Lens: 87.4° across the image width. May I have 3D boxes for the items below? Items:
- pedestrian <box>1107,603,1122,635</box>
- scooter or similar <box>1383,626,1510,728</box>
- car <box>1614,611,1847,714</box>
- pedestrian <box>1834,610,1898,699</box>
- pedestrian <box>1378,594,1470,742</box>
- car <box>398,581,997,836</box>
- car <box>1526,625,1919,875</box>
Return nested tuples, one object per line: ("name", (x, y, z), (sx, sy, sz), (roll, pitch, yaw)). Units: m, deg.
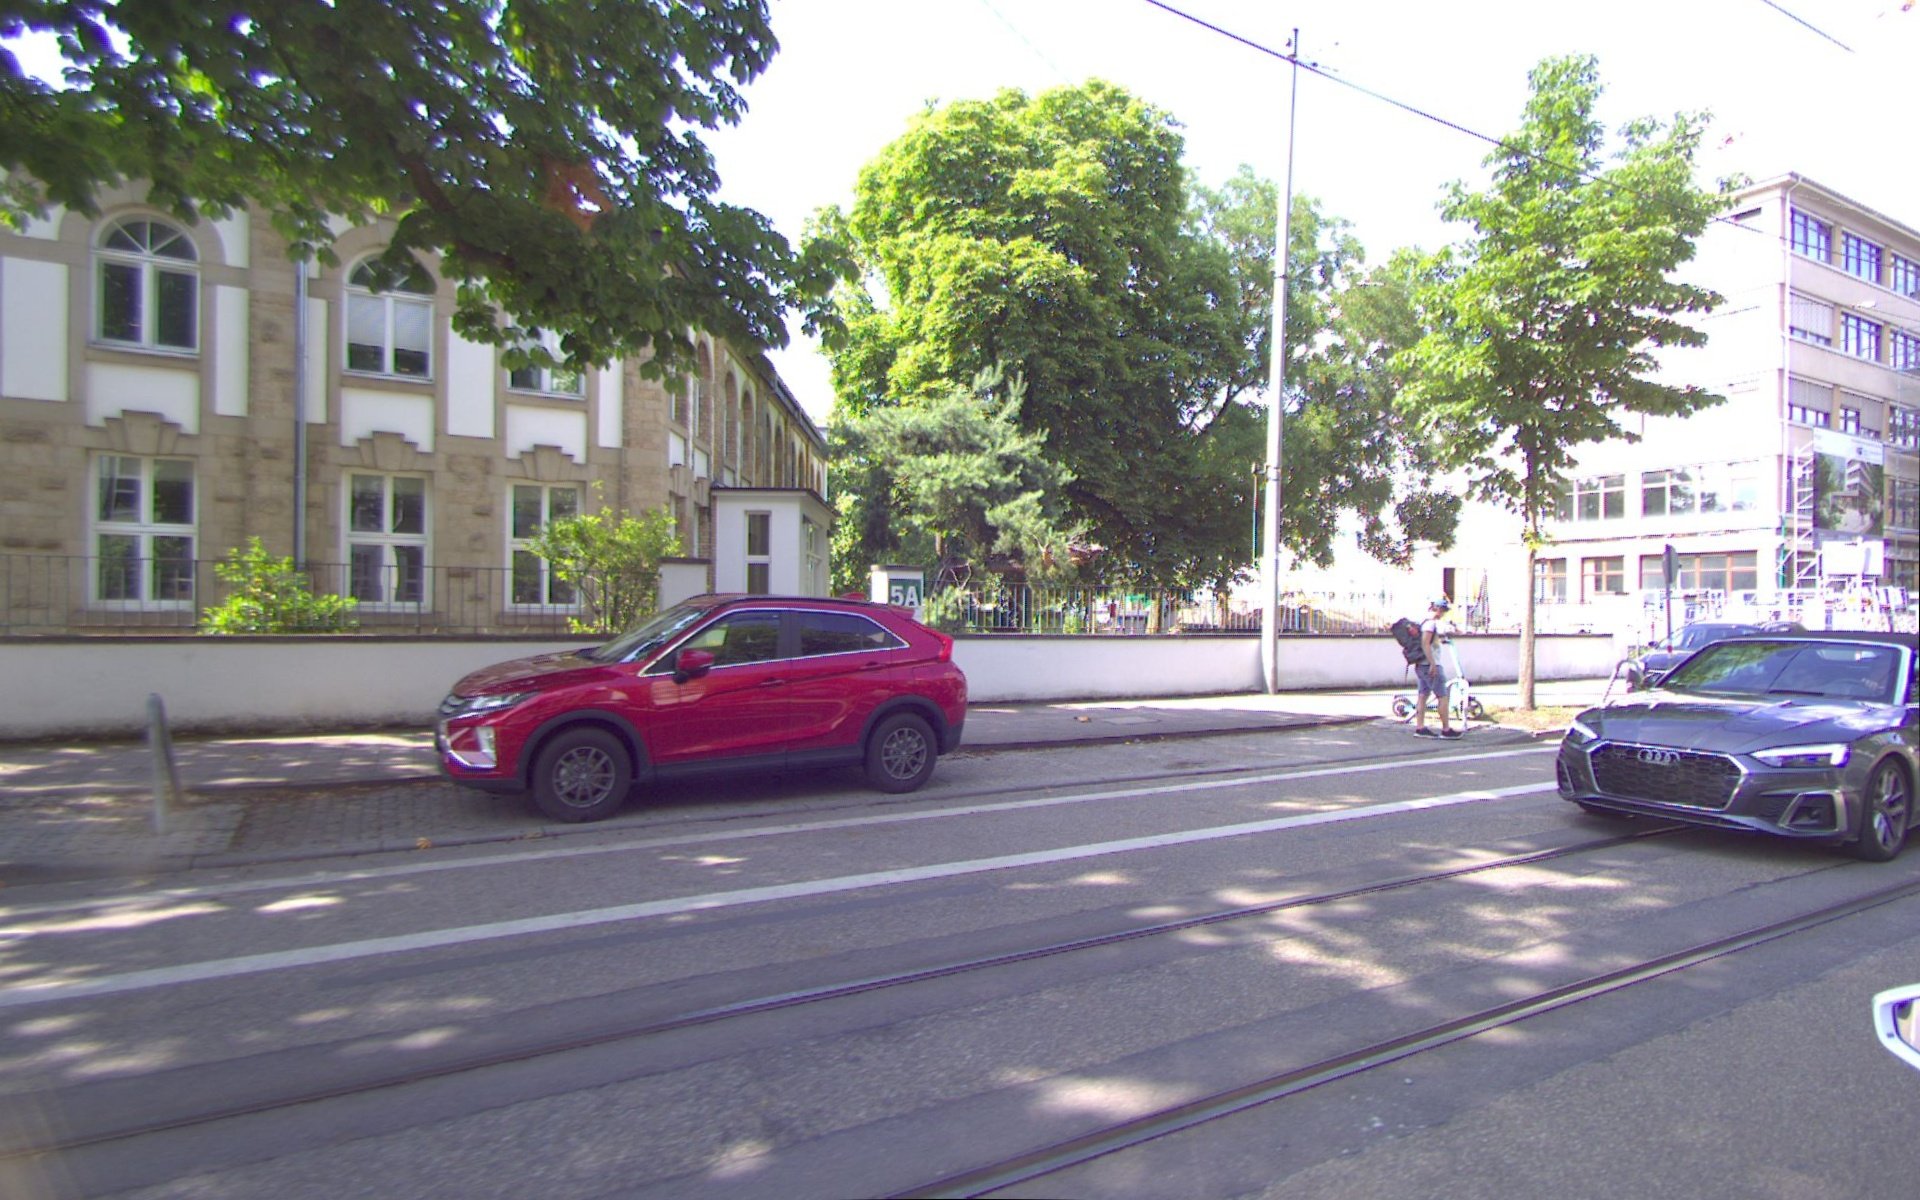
("pedestrian", (8.158, 0.993, 53.156), (0.751, 1.642, 0.594), (1, 0, 10))
("scooter or similar", (6.816, 1.045, 14.119), (0.845, 1.297, 1.332), (1, 1, -30))
("car", (13.454, 1.022, 17.467), (4.542, 1.536, 1.739), (1, 1, -33))
("pedestrian", (17.642, 1.040, 19.575), (0.714, 1.659, 0.691), (2, 1, 27))
("pedestrian", (5.902, 0.831, 12.784), (0.783, 1.790, 0.745), (1, 1, -37))
("car", (-2.125, 0.756, 8.610), (4.666, 1.687, 1.741), (1, 1, -31))
("car", (6.430, 0.901, 7.589), (4.373, 1.406, 1.791), (1, -1, -30))
